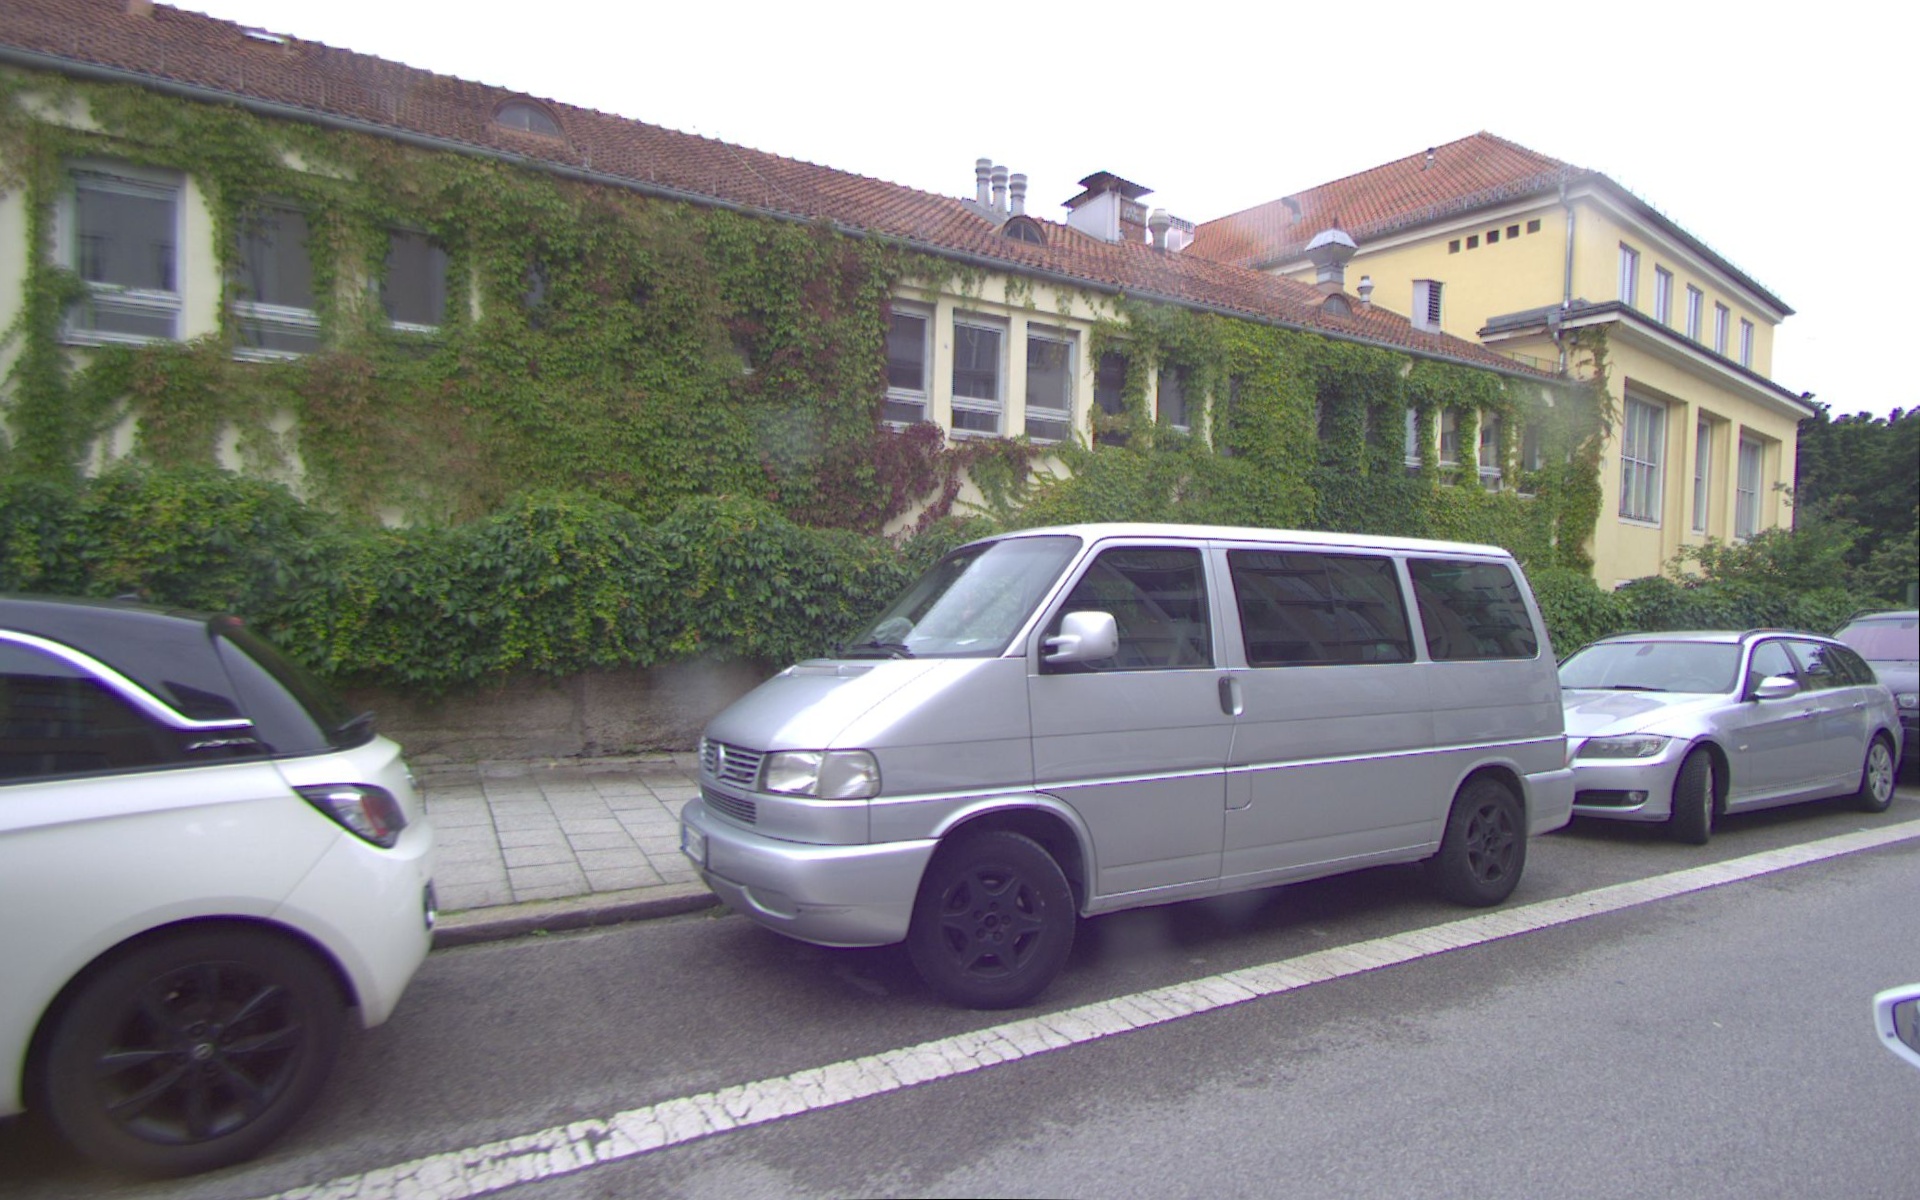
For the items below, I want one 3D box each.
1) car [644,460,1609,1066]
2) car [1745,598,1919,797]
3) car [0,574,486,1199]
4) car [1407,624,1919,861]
[{"bbox_3d":[0.972,0.571,5.180,4.699,1.900,1.985,1,-2,-29],"label":"car"},{"bbox_3d":[10.080,0.902,10.400,4.373,1.753,1.612,1,-1,-31],"label":"car"},{"bbox_3d":[-3.308,0.709,2.556,3.686,1.512,1.571,1,-2,-31],"label":"car"},{"bbox_3d":[5.704,0.931,7.933,4.370,1.441,1.694,1,-2,-29],"label":"car"}]
